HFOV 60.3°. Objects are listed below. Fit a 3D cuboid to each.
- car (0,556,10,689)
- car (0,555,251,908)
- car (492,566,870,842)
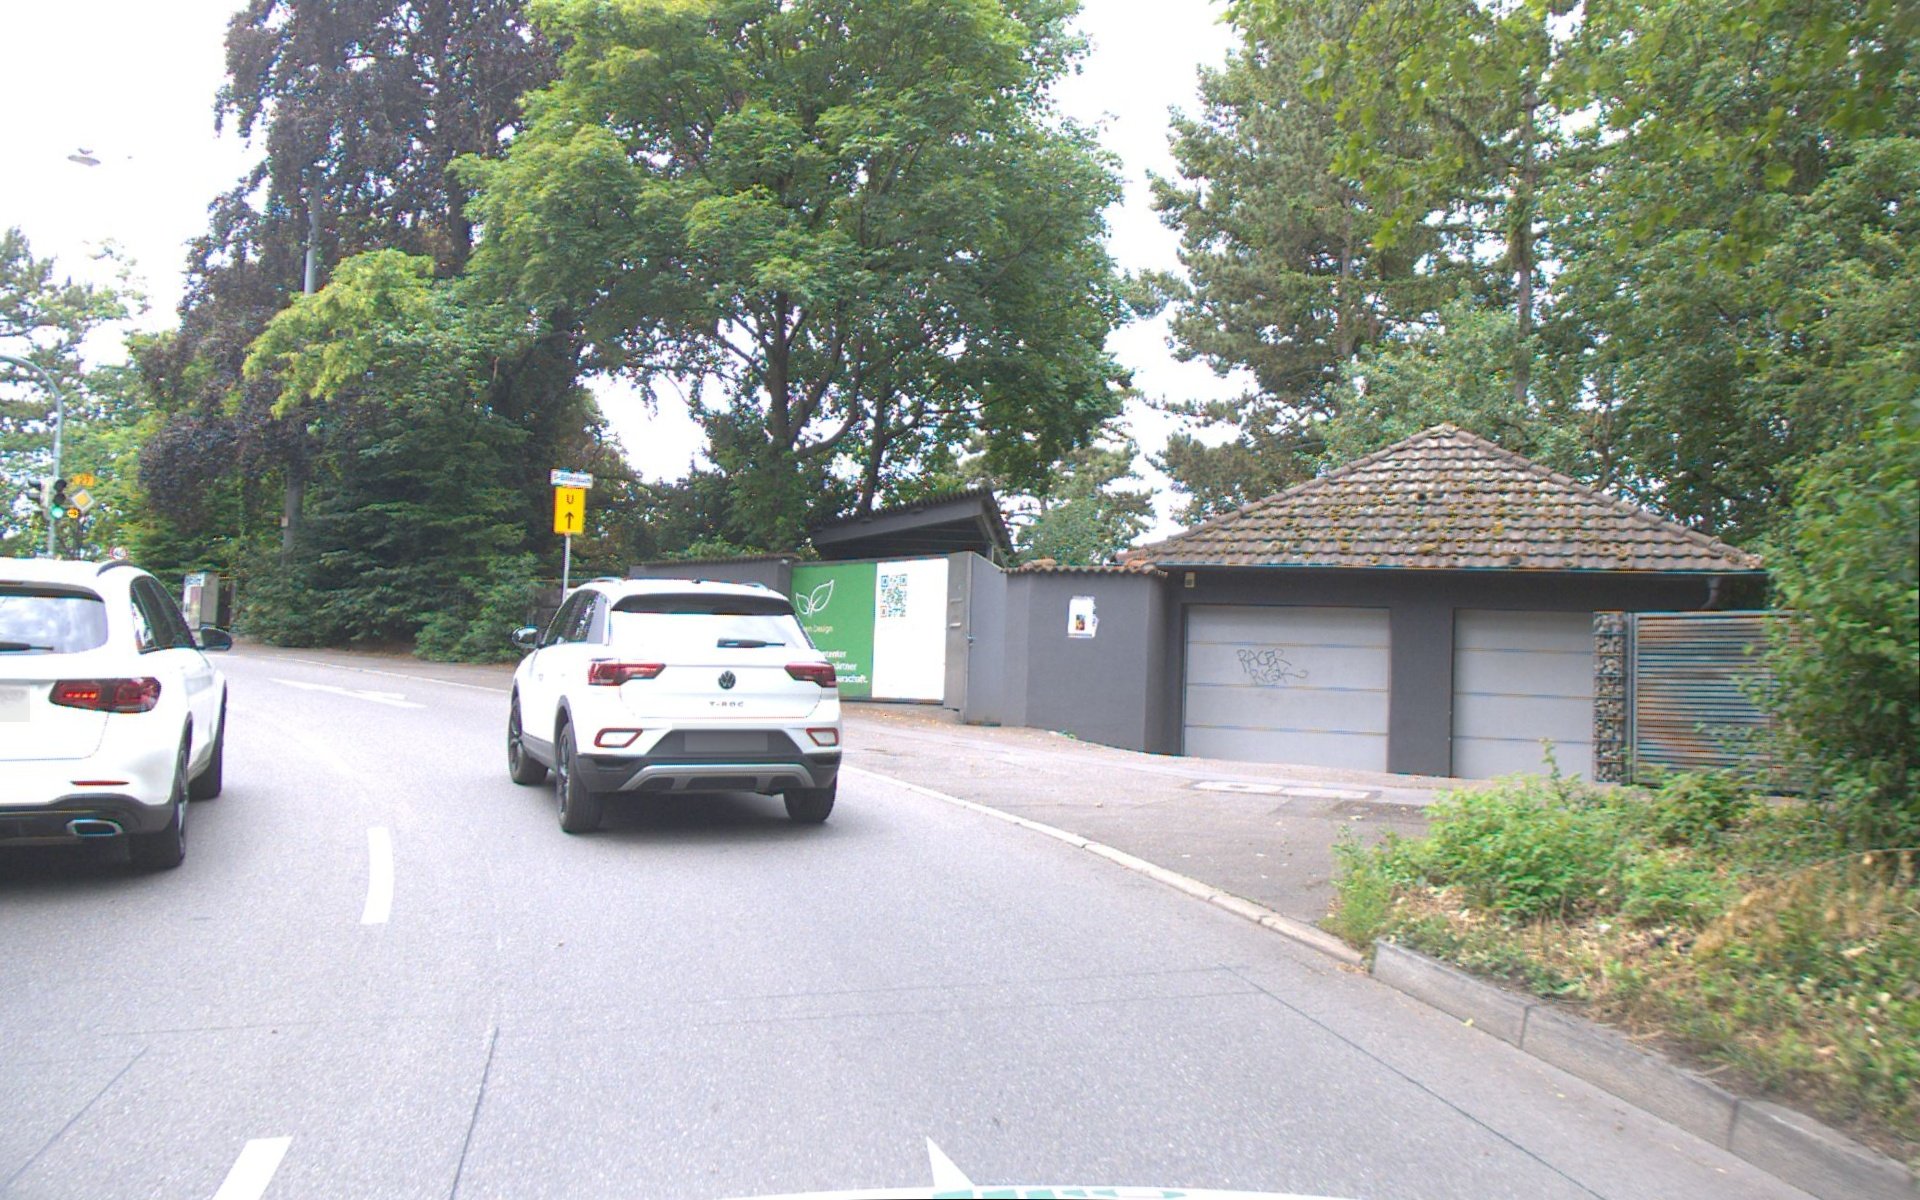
[{"bbox_3d":[-13.655,0.132,20.550,4.693,1.560,1.859,4,2,42],"label":"car"},{"bbox_3d":[-5.437,0.558,9.857,1.830,1.633,4.646,-1,2,-19],"label":"car"},{"bbox_3d":[-2.180,0.585,11.818,1.730,1.580,4.308,2,0,-22],"label":"car"}]
